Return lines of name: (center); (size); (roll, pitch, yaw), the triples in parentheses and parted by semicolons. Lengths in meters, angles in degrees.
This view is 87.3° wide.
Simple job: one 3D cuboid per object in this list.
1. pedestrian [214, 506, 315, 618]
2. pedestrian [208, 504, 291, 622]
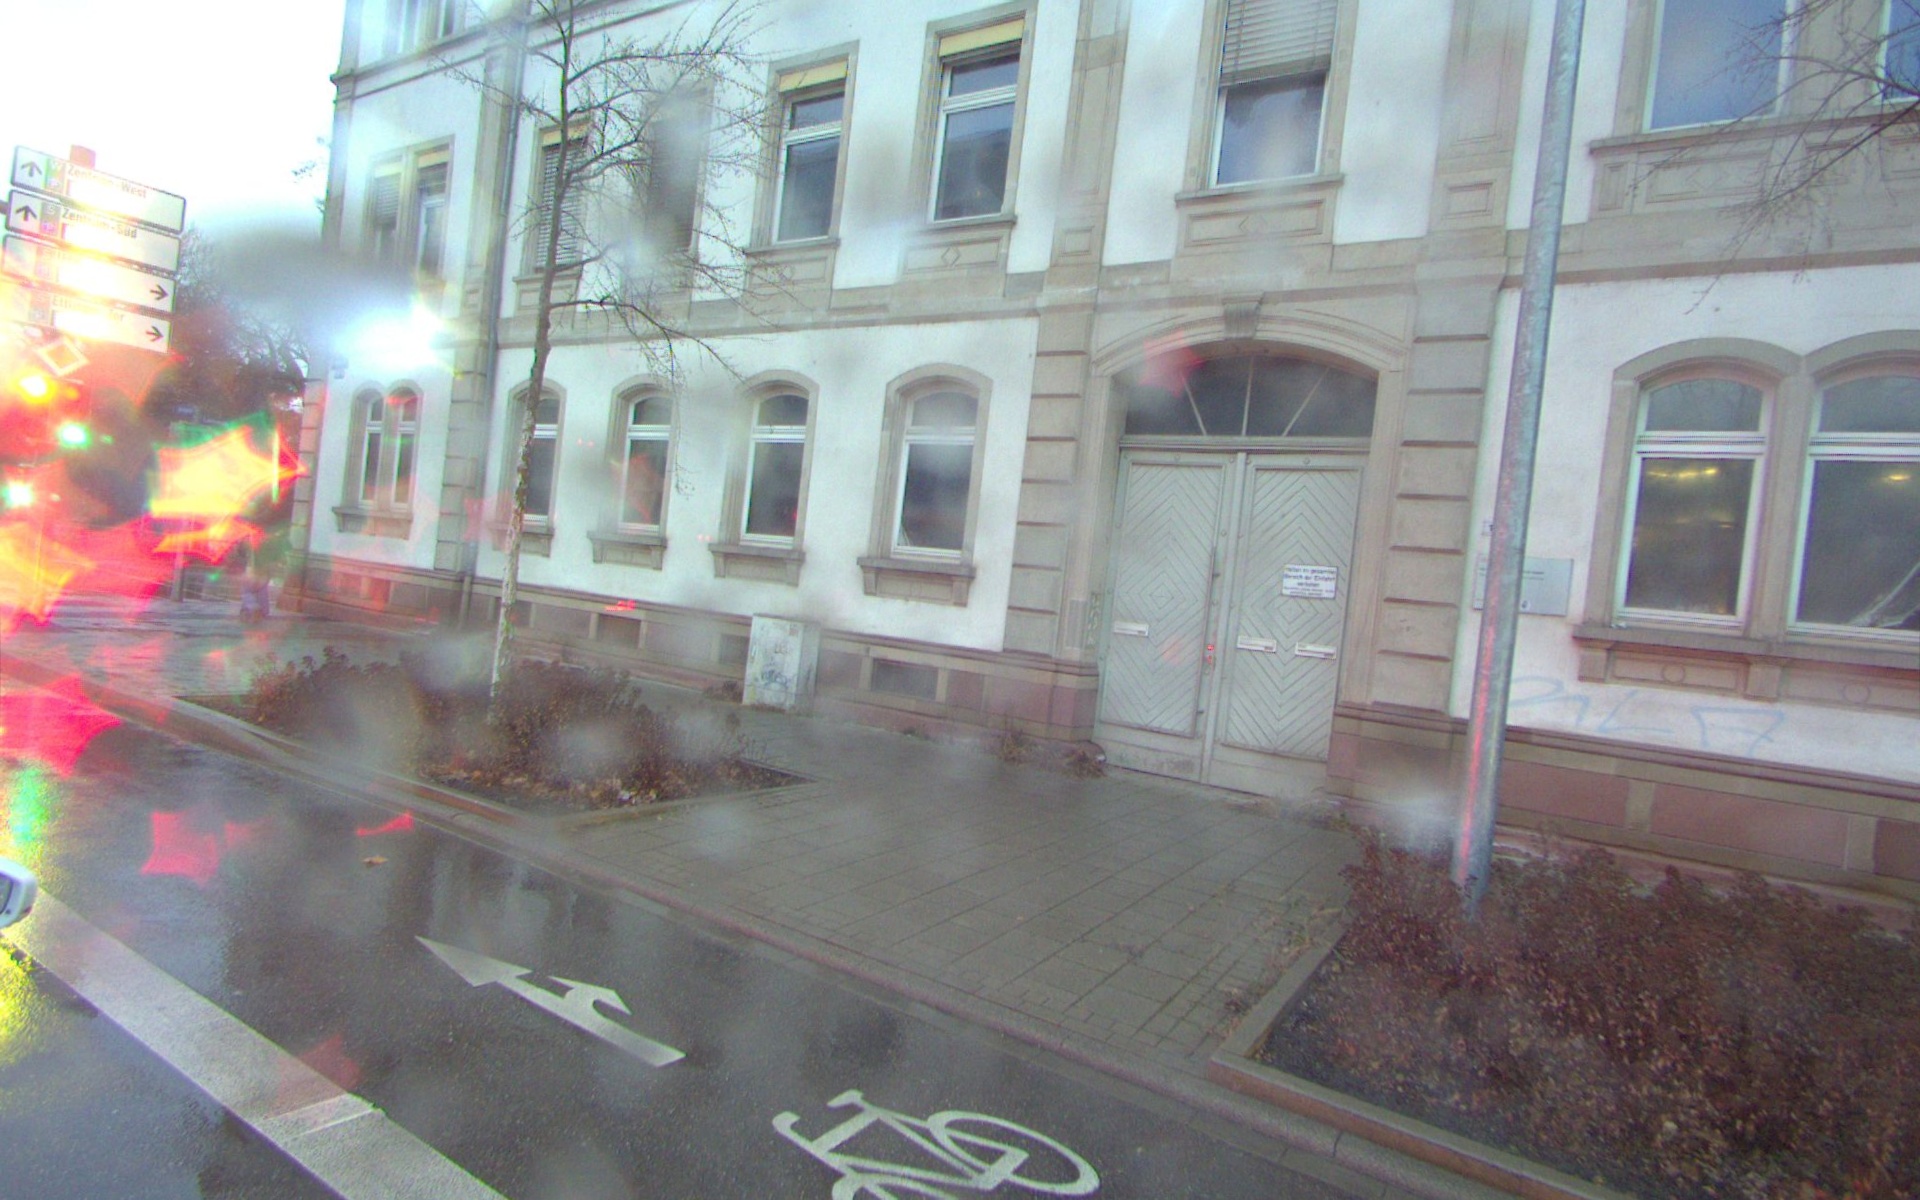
pedestrian: (-11.332, -0.605, 16.392); (0.993, 1.651, 0.784); (7, -1, 23)
pedestrian: (-10.467, -0.543, 14.815); (0.778, 1.597, 1.000); (8, -1, -39)
